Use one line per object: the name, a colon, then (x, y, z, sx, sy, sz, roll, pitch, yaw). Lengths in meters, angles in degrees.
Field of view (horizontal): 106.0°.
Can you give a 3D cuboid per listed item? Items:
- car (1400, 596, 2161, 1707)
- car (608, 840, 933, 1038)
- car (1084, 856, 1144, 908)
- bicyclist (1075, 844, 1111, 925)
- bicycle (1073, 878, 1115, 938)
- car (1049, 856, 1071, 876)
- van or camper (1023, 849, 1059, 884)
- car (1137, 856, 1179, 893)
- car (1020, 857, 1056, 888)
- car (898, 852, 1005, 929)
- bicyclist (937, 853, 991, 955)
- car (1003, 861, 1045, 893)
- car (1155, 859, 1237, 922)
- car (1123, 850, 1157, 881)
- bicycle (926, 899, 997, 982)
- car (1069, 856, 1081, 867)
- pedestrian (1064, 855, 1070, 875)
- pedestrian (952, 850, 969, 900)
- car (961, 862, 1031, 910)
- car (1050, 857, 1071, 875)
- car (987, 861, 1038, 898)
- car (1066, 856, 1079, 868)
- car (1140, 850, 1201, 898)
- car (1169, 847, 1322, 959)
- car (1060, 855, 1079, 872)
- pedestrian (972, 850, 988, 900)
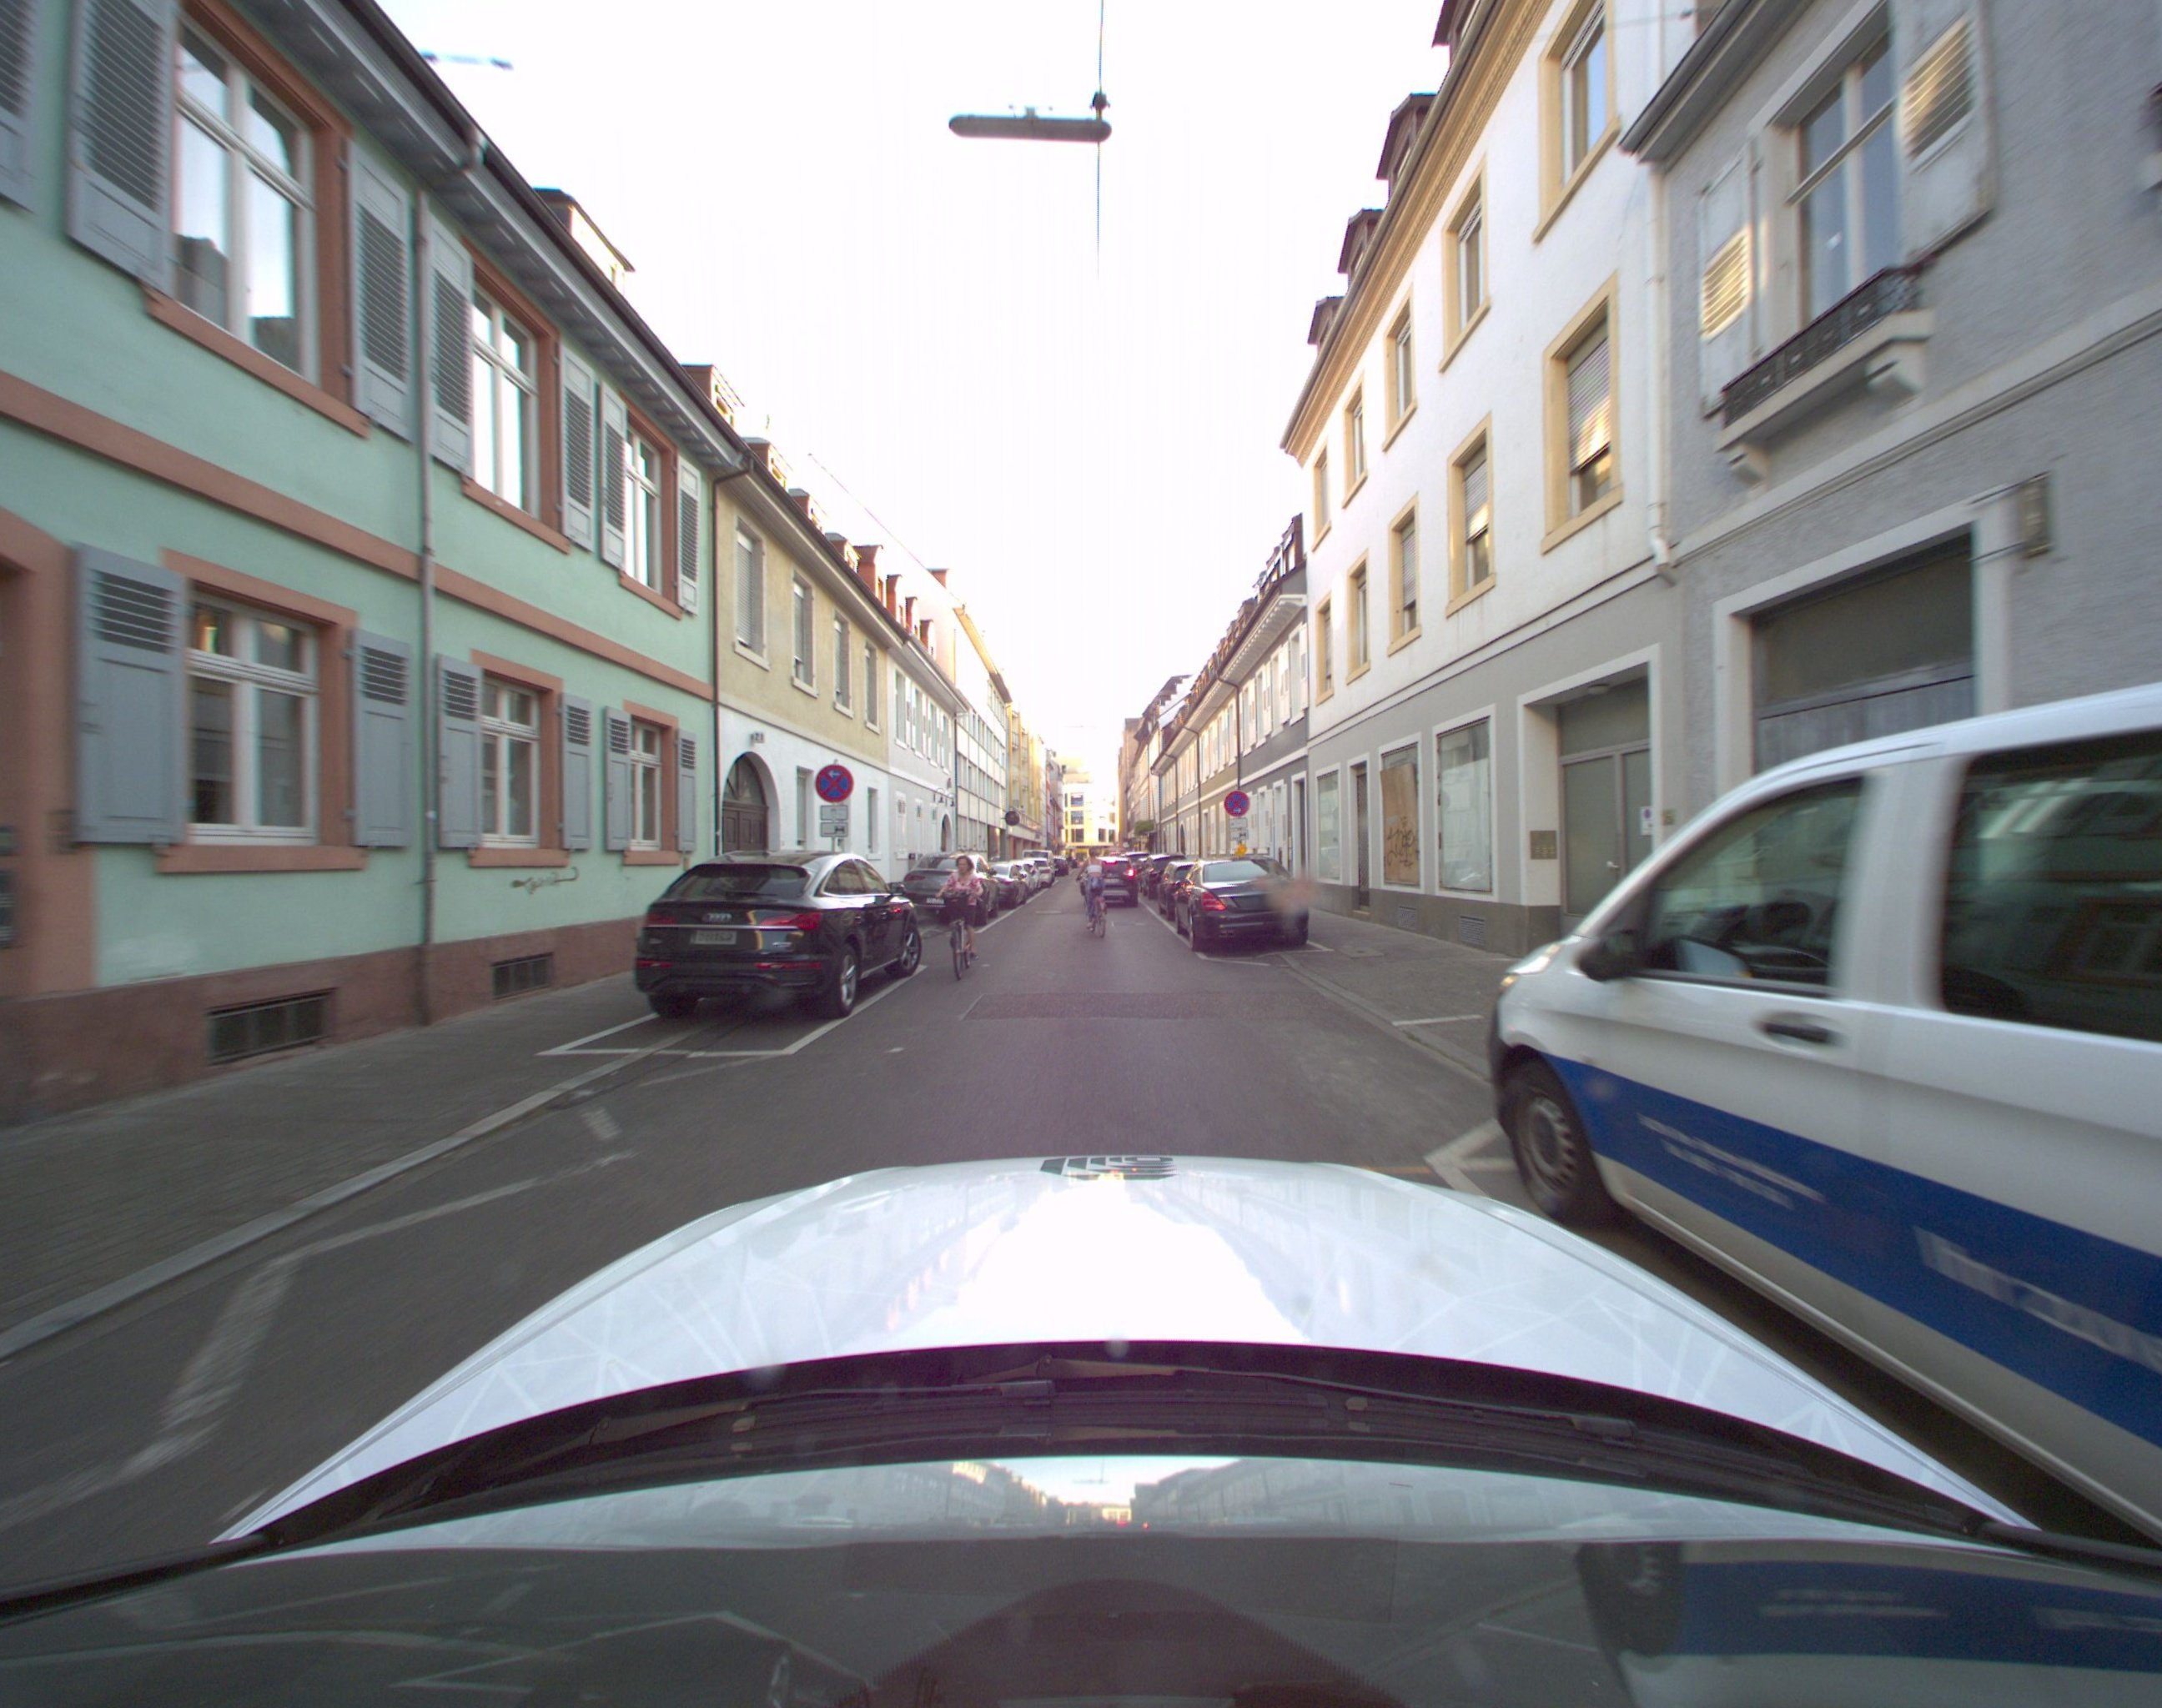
car: (2.701, 0.475, 1.689, 1.934, 1.894, 5.317, -5, 0, 1)
car: (-3.098, 0.744, 9.286, 1.796, 1.676, 4.492, -1, 0, 2)
car: (1.039, 0.865, 27.053, 1.813, 1.618, 4.000, 0, 0, 0)
bicyclist: (0.230, 0.592, 16.208, 0.620, 1.574, 0.682, -1, -1, -7)
bicycle: (0.240, 1.056, 16.313, 0.613, 1.082, 1.805, -1, 0, -7)
car: (-1.689, 0.980, 65.904, 1.647, 1.561, 3.606, 0, 0, 1)
van or camper: (-2.362, 0.735, 49.227, 1.838, 2.013, 4.679, 0, 0, 1)
car: (3.383, 0.867, 36.290, 1.647, 1.561, 3.606, 0, 0, 1)
car: (-2.237, 0.936, 43.377, 1.647, 1.561, 3.606, 0, 0, 1)
car: (-3.103, 0.827, 20.468, 1.992, 1.707, 4.534, 0, 0, 0)
bicyclist: (-1.613, 0.680, 11.288, 0.603, 1.369, 0.622, -1, -1, 3)
car: (-2.622, 1.035, 38.399, 1.647, 1.411, 3.606, 0, 0, 1)
car: (2.926, 0.871, 21.439, 1.670, 1.486, 4.001, 0, 0, 1)
car: (3.166, 0.604, 43.884, 1.647, 1.561, 3.606, 0, 0, 1)
bicycle: (-1.596, 1.140, 11.182, 0.611, 0.932, 1.887, -1, 0, 2)
car: (-0.833, 1.111, 118.049, 1.647, 1.561, 3.606, 0, 0, 1)
pedestrian: (-1.206, 0.935, 69.721, 0.552, 1.752, 0.568, -1, -1, -2)
pedestrian: (-4.954, 0.866, 33.464, 0.608, 2.014, 0.449, -1, -1, -2)
car: (-2.732, 0.990, 27.027, 1.912, 1.434, 4.292, 0, 0, -1)
car: (-1.755, 1.027, 71.210, 1.647, 1.561, 3.606, 0, 0, 1)
car: (-2.737, 0.994, 33.308, 1.647, 1.411, 3.903, 0, 0, 1)
car: (-1.212, 1.082, 111.219, 1.647, 1.561, 3.606, 0, 0, 1)
car: (3.372, 0.738, 31.538, 1.912, 1.738, 4.152, 0, 0, 0)
car: (2.710, 0.739, 14.586, 1.812, 1.530, 5.074, -5, 0, 2)
car: (-1.105, 0.870, 76.901, 1.647, 1.561, 3.606, 0, 0, 1)
pedestrian: (-4.122, 0.857, 33.318, 0.608, 2.014, 0.449, -1, -1, -2)
